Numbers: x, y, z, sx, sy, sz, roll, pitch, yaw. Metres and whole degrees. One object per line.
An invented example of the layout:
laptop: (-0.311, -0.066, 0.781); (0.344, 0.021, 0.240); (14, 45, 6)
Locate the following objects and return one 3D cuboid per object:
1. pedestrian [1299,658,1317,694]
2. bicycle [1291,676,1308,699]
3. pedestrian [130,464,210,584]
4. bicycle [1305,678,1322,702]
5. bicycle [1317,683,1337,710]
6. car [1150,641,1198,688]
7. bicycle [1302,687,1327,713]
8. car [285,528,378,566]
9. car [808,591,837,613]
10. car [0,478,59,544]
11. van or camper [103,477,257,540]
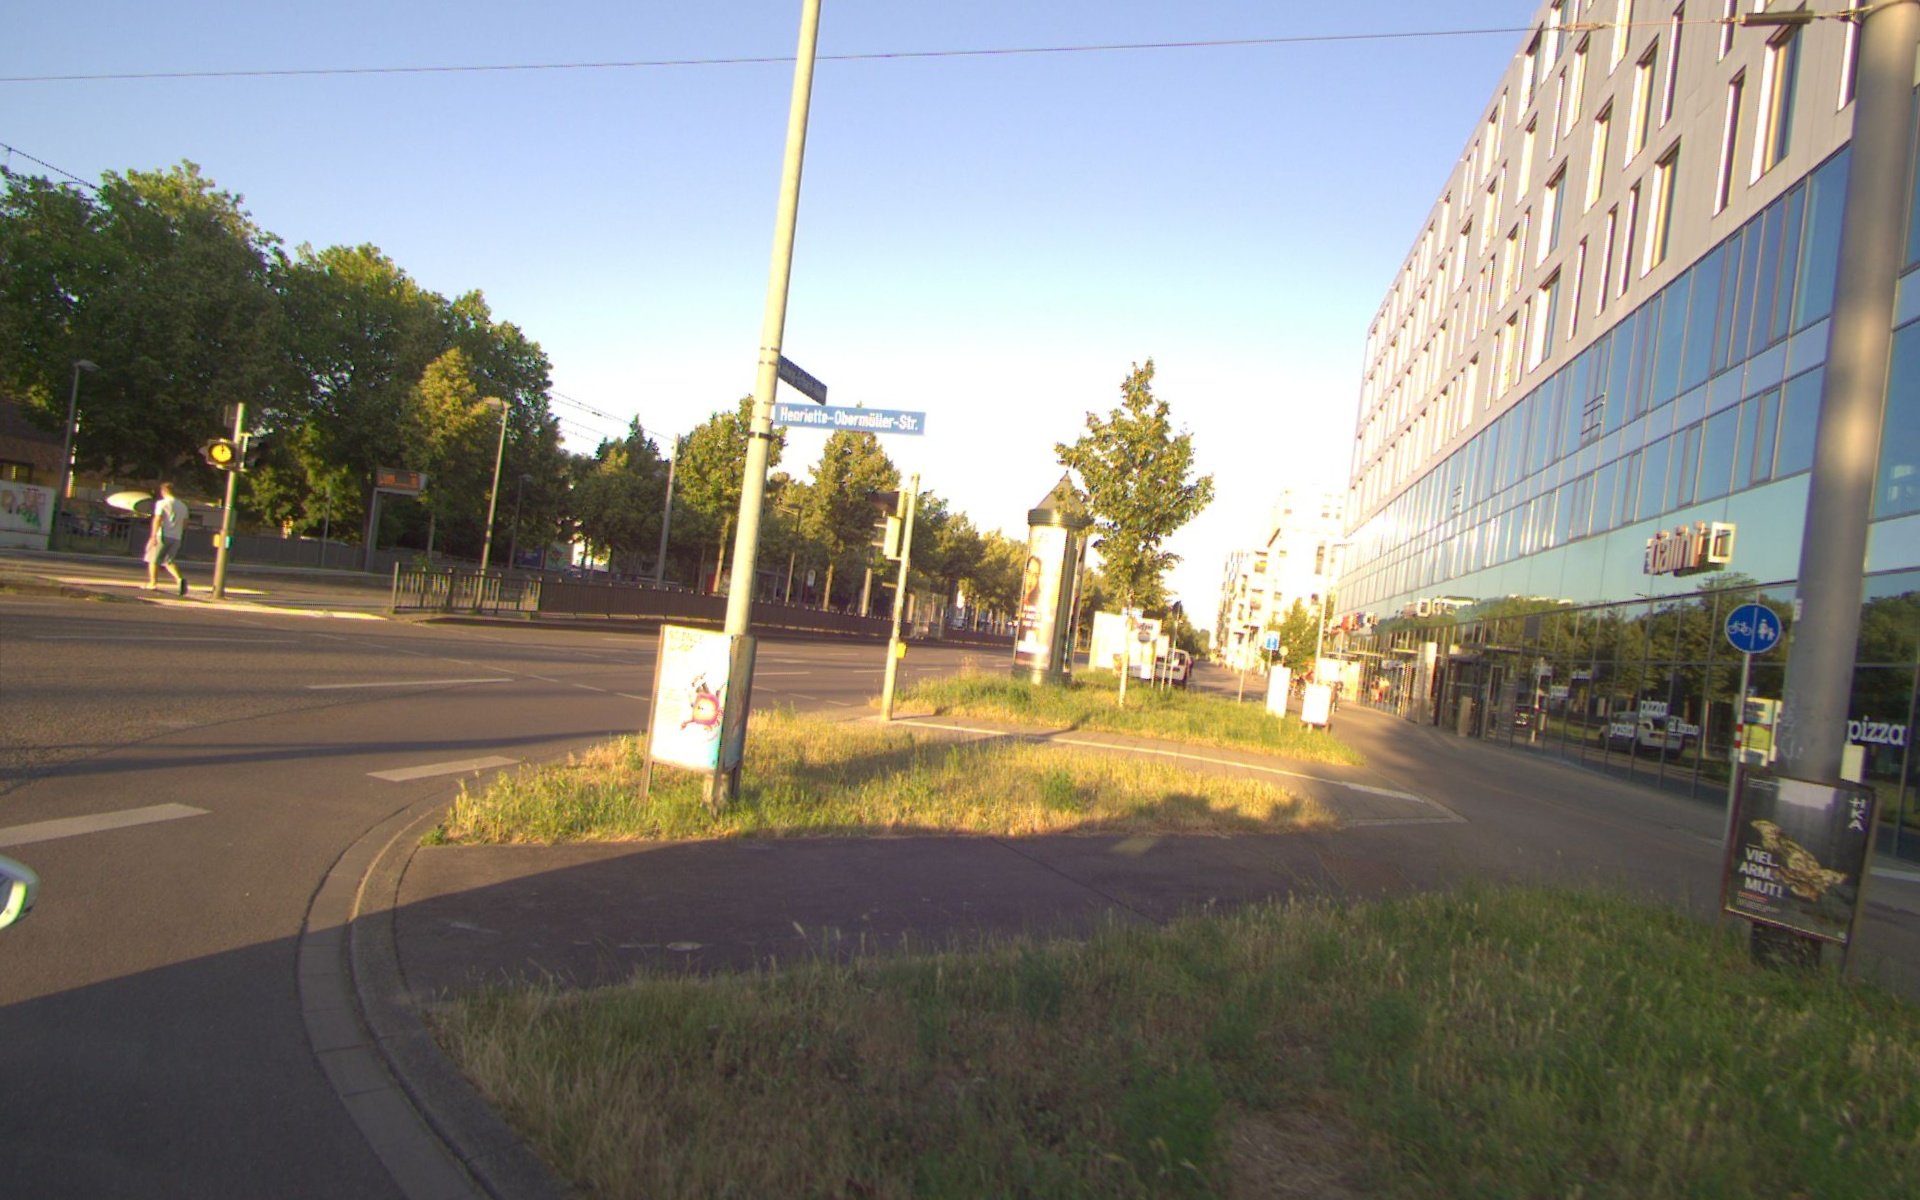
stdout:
pedestrian: (21.828, 4.753, 63.085); (0.799, 2.114, 1.113); (6, -1, 16)
bicycle: (17.989, 4.626, 53.361); (0.624, 1.080, 2.124); (8, -1, 16)
pedestrian: (-12.860, -1.226, 16.375); (0.760, 1.811, 0.792); (9, -2, -44)
bicycle: (17.813, 4.510, 50.762); (0.624, 1.080, 2.123); (8, -1, 18)
bicycle: (16.376, 4.308, 44.885); (0.625, 1.080, 2.122); (8, -1, 23)
car: (10.327, 3.097, 48.381); (1.822, 1.849, 4.399); (9, -1, 15)
bicycle: (16.838, 4.727, 47.814); (0.624, 1.080, 2.125); (7, -1, 10)
car: (-36.678, -3.062, 58.858); (1.962, 1.481, 4.247); (7, -2, 18)
car: (-16.209, 0.278, 118.744); (1.747, 2.210, 4.003); (8, -1, 15)
car: (-28.929, -2.814, 28.632); (1.826, 1.748, 4.554); (7, -1, 11)
van or camper: (-44.129, -5.126, 57.187); (2.222, 2.438, 6.589); (6, -2, 20)
